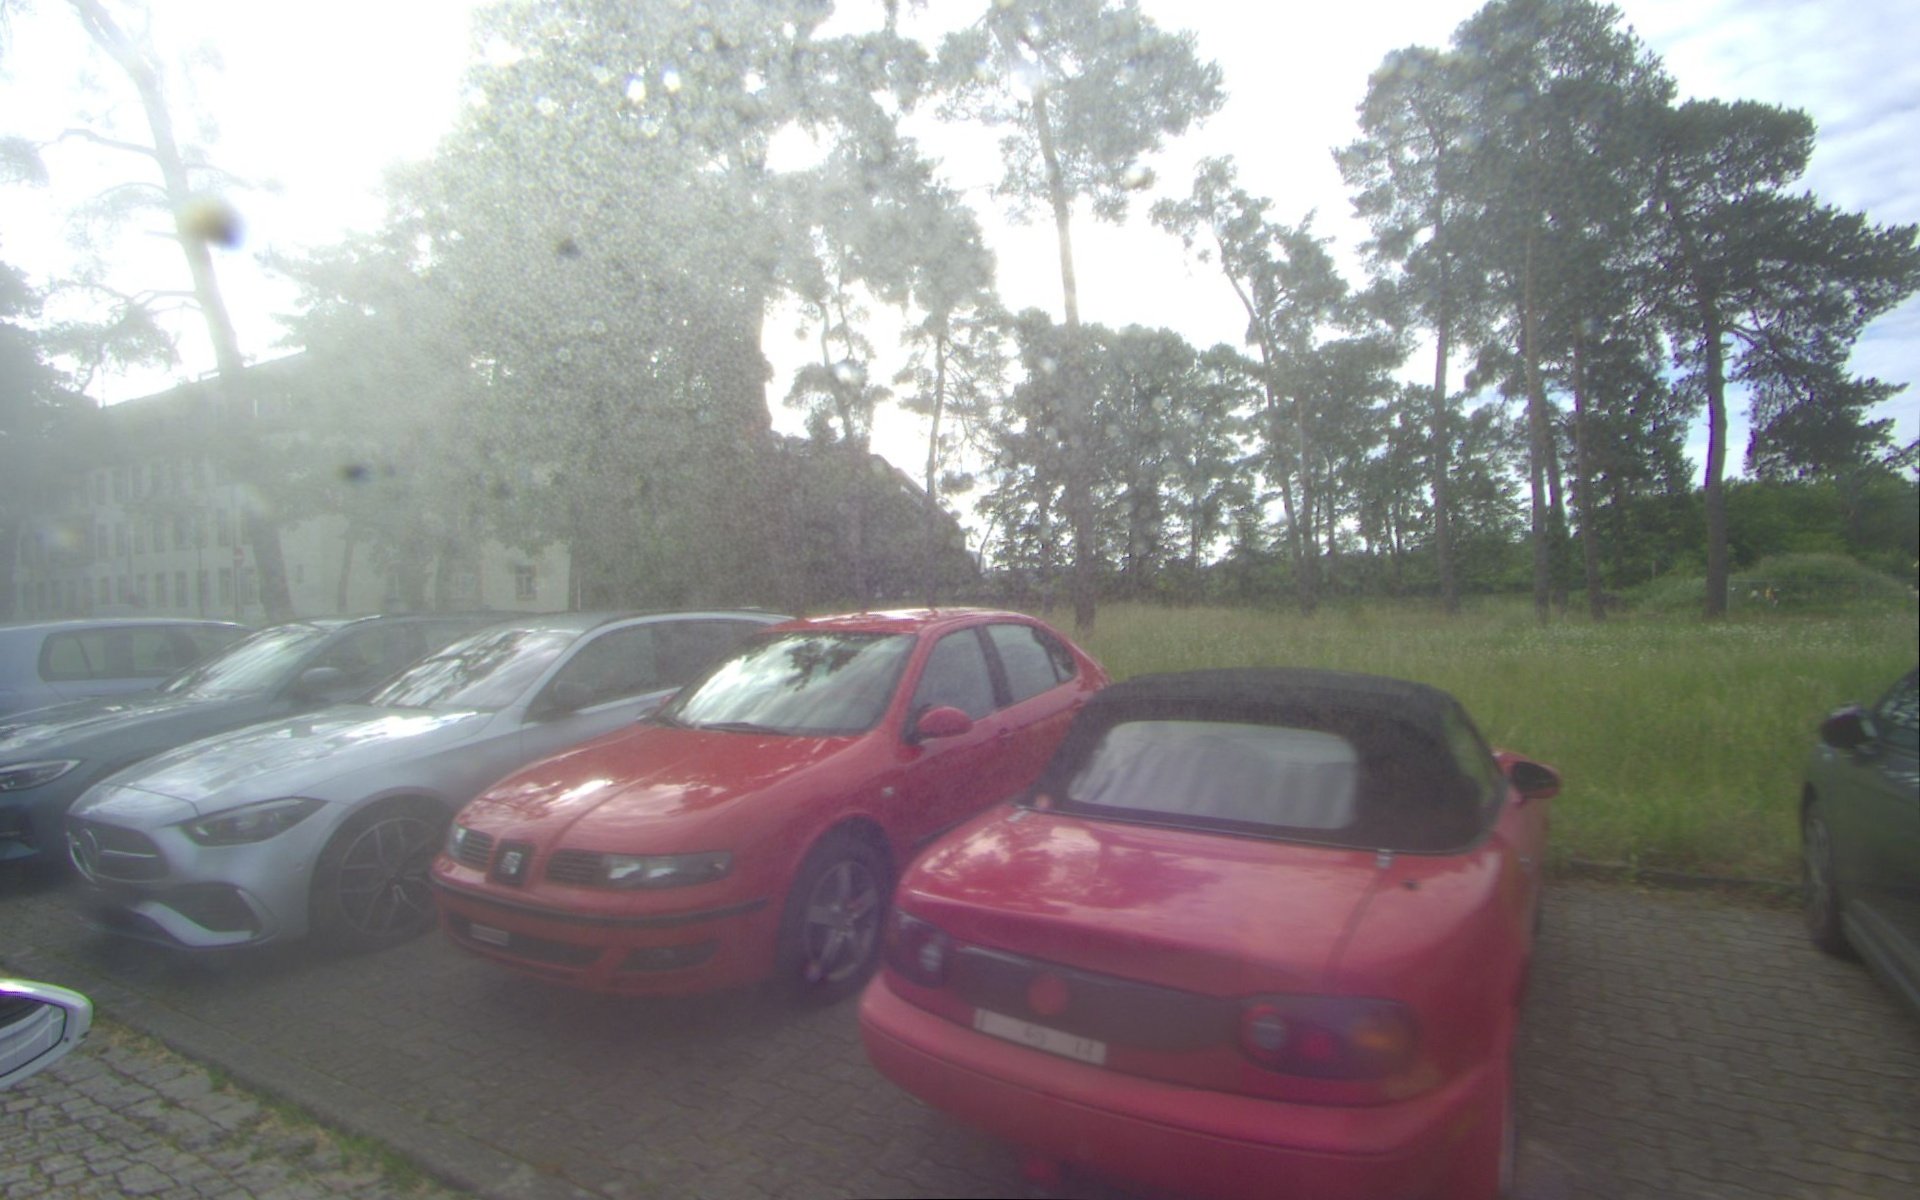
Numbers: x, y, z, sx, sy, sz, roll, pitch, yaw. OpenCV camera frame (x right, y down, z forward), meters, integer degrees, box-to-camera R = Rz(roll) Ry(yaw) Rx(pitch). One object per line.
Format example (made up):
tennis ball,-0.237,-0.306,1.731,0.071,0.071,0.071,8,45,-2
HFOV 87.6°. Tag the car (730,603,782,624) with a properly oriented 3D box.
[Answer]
car,-15.481,1.069,76.183,1.627,1.439,3.940,-1,-3,33

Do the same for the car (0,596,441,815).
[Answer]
car,-6.984,0.786,8.870,1.619,1.497,3.917,0,2,32

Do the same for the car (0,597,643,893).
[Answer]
car,-4.884,0.779,7.676,1.842,1.436,4.674,-1,2,29

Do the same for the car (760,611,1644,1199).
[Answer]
car,1.238,0.756,3.631,1.732,1.253,3.855,-1,2,30

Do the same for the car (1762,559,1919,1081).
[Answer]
car,3.666,0.626,2.711,1.732,1.492,3.855,-1,2,30

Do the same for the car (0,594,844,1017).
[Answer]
car,-2.674,0.762,6.069,1.841,1.436,4.419,-1,2,25

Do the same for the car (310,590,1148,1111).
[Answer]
car,-0.638,0.739,5.263,1.843,1.436,4.253,-1,2,31
